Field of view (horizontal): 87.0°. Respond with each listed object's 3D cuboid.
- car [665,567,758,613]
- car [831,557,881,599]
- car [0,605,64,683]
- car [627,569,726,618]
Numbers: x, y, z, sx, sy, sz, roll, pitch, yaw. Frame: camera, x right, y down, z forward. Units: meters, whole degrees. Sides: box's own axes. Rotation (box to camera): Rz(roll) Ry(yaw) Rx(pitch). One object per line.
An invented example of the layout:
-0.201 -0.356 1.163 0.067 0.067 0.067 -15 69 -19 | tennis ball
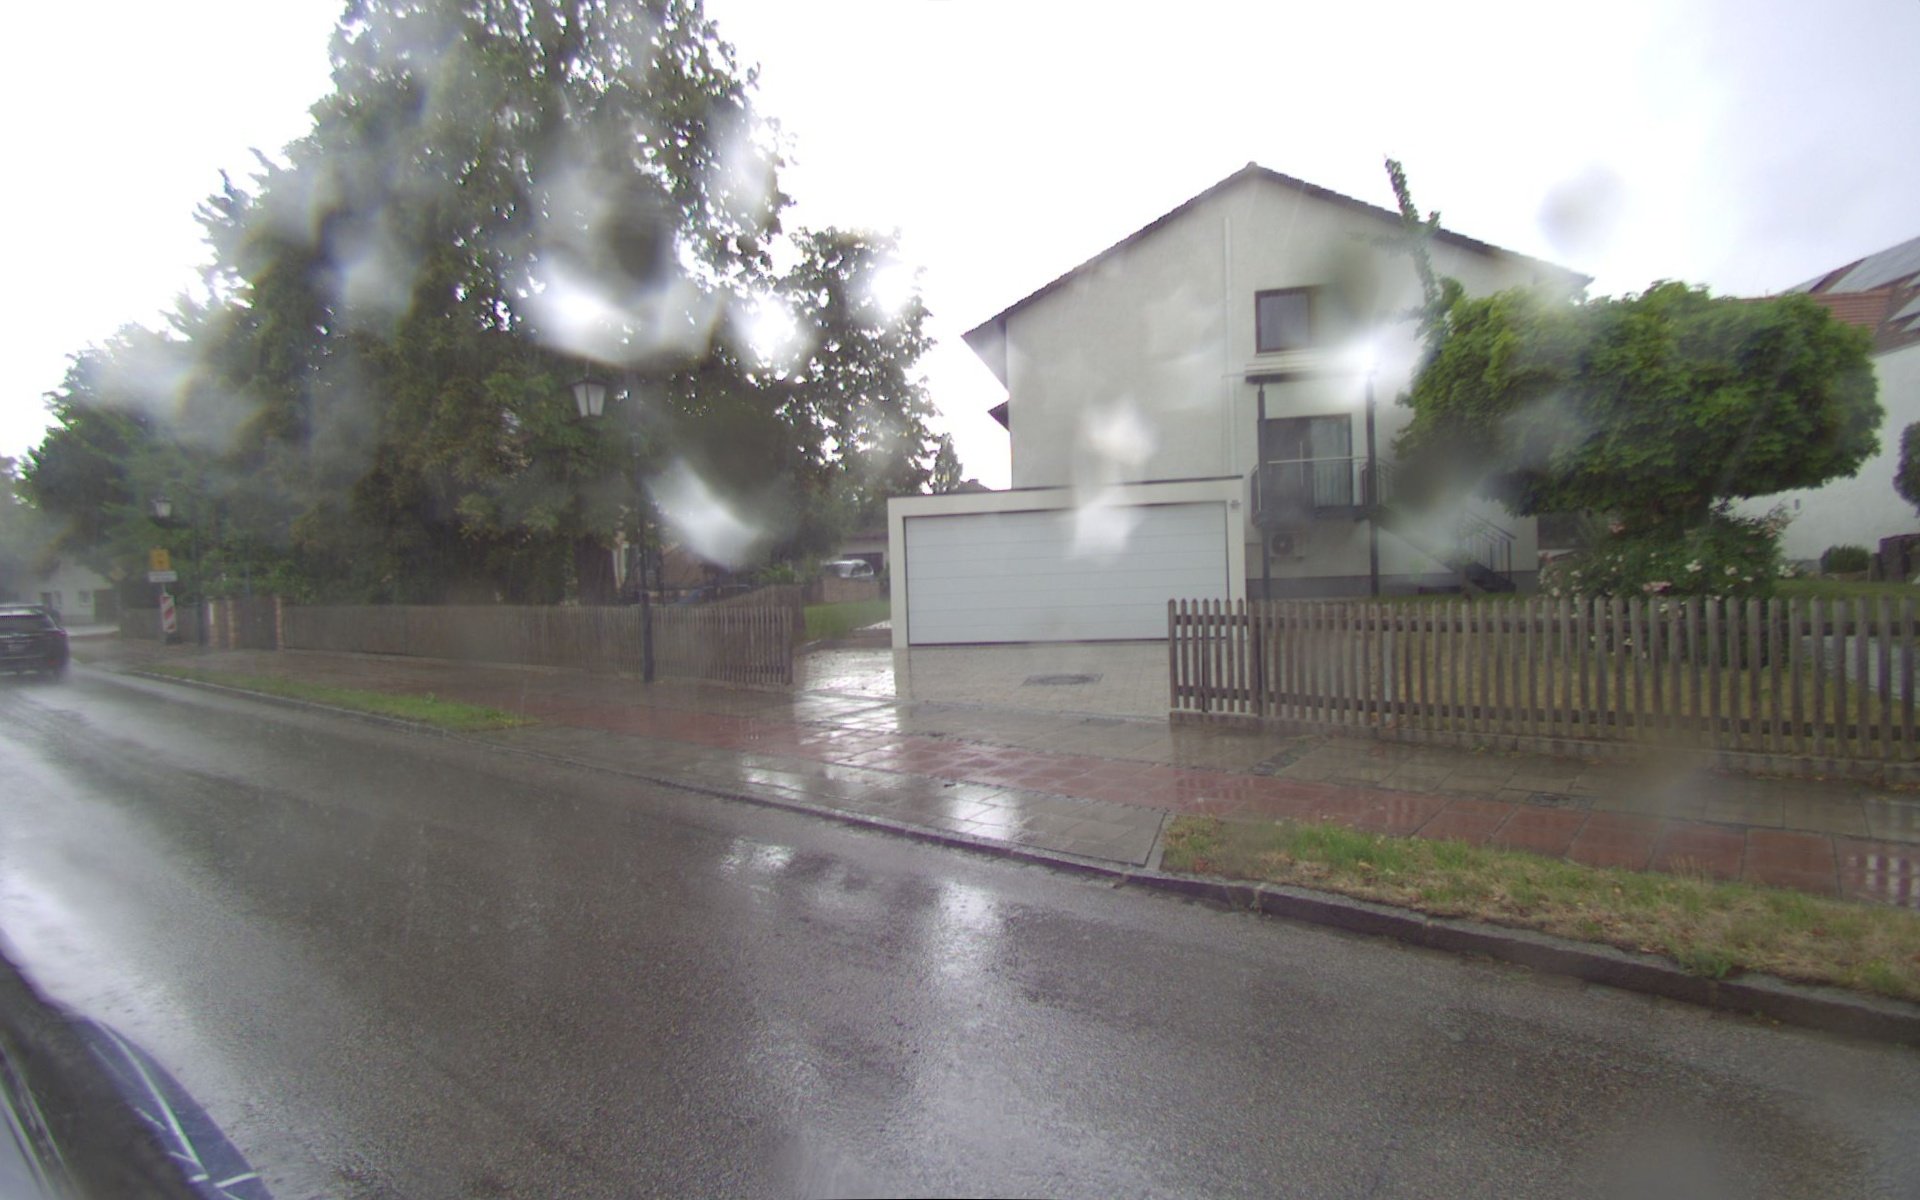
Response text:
-11.331 -0.456 46.252 3.613 1.815 1.839 -3 2 7 | car
-5.857 -1.208 57.316 1.767 2.311 3.838 -1 0 11 | car
-20.340 0.910 21.360 4.186 1.532 1.621 -2 -1 41 | car
-12.216 -0.300 43.726 3.613 1.815 1.839 -3 2 7 | car
